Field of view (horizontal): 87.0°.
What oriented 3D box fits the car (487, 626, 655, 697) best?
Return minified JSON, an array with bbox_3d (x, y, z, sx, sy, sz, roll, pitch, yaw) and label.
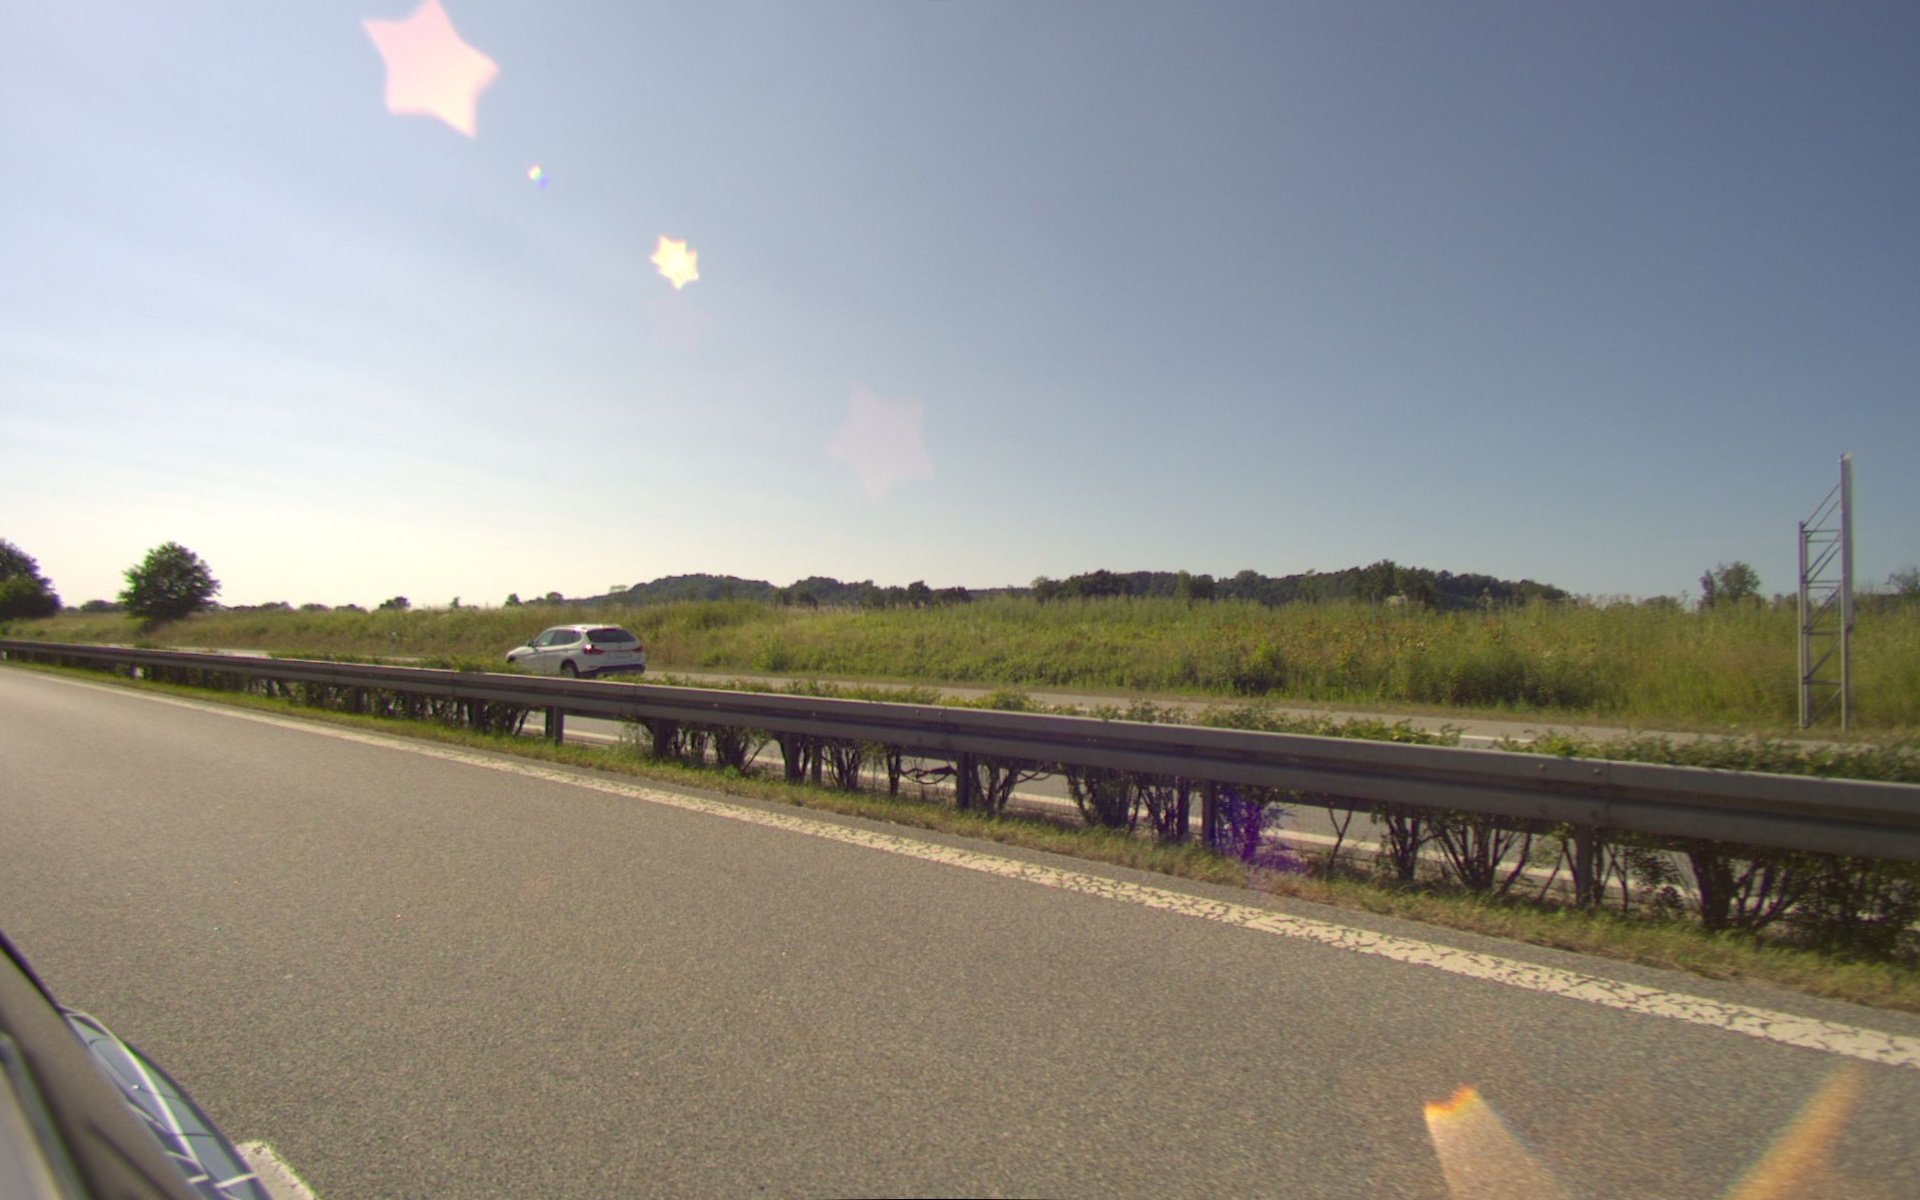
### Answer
[{"bbox_3d":[-9.913,1.539,25.602,5.004,1.636,1.747,-2,-5,40],"label":"car"}]
